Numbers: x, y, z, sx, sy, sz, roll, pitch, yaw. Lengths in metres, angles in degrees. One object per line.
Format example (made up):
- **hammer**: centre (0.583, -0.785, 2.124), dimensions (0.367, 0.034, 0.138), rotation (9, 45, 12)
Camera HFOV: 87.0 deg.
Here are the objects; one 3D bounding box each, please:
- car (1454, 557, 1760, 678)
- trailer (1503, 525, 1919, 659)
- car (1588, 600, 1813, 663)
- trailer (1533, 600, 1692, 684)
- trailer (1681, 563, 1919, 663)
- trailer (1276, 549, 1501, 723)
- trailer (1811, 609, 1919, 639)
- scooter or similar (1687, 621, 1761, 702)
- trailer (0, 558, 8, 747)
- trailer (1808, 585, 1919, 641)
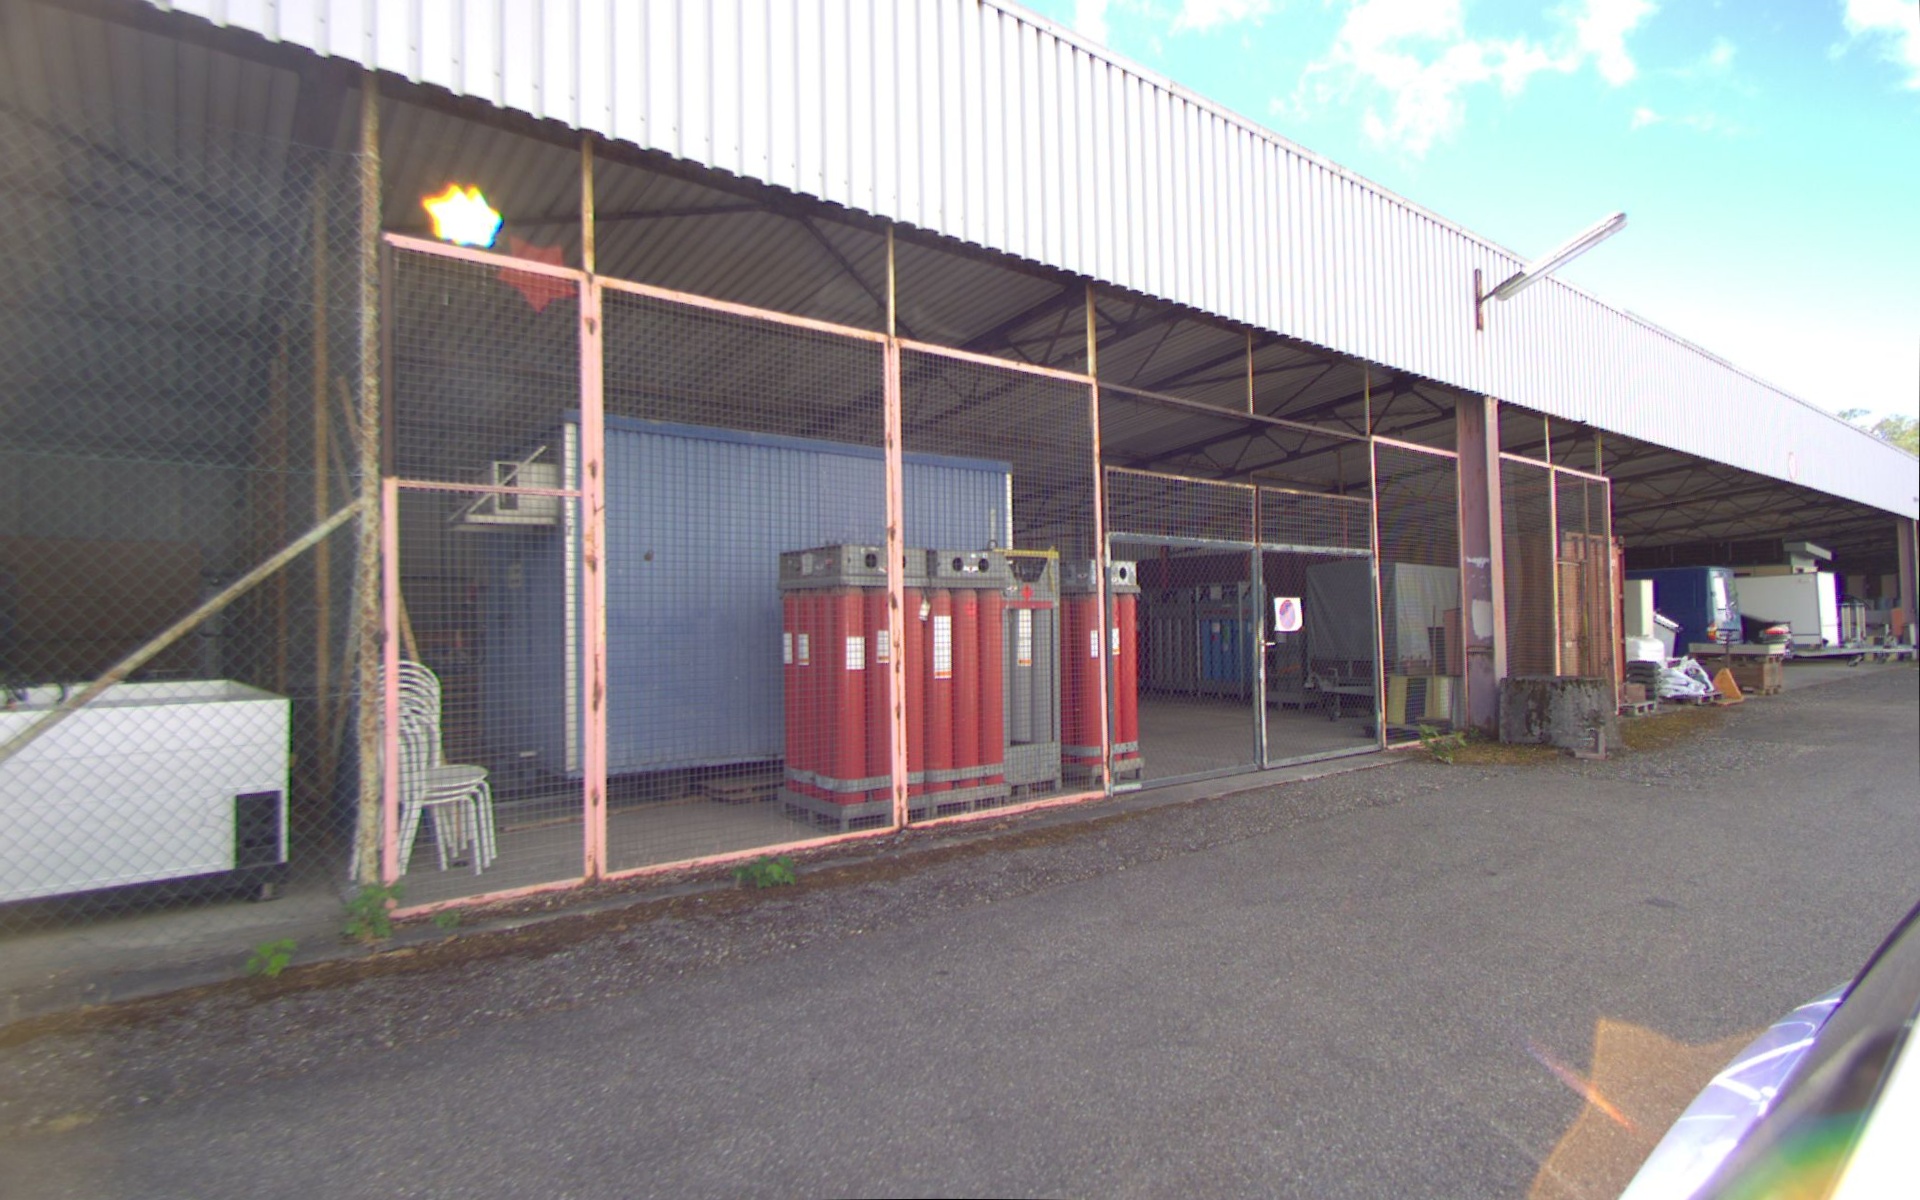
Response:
- **car**: centre (13.916, 0.391, 22.110), dimensions (2.046, 2.327, 5.227), rotation (0, -1, -39)
- **trailer**: centre (22.007, -0.178, 29.913), dimensions (2.626, 3.337, 10.320), rotation (0, -1, -37)
- **car**: centre (18.790, 0.757, 25.845), dimensions (1.832, 1.452, 4.350), rotation (0, 0, -41)
- **trailer**: centre (12.614, 0.784, 19.611), dimensions (1.610, 1.481, 2.100), rotation (-1, -1, -35)
- **trailer**: centre (21.695, 0.310, 26.260), dimensions (1.657, 2.365, 4.553), rotation (0, -1, -37)
- **trailer**: centre (6.141, 0.436, 14.366), dimensions (3.460, 2.170, 1.579), rotation (0, 0, -41)
- **trailer**: centre (37.730, 0.937, 40.211), dimensions (1.973, 1.148, 5.745), rotation (0, -1, -39)
- **scooter or similar**: centre (11.779, 0.925, 15.590), dimensions (1.564, 1.149, 0.521), rotation (-1, -1, -39)
- **trailer**: centre (-11.196, 0.577, 9.802), dimensions (2.418, 2.165, 3.414), rotation (0, -1, -36)
- **trailer**: centre (35.267, 0.478, 38.054), dimensions (2.008, 2.022, 4.832), rotation (0, 0, -35)
